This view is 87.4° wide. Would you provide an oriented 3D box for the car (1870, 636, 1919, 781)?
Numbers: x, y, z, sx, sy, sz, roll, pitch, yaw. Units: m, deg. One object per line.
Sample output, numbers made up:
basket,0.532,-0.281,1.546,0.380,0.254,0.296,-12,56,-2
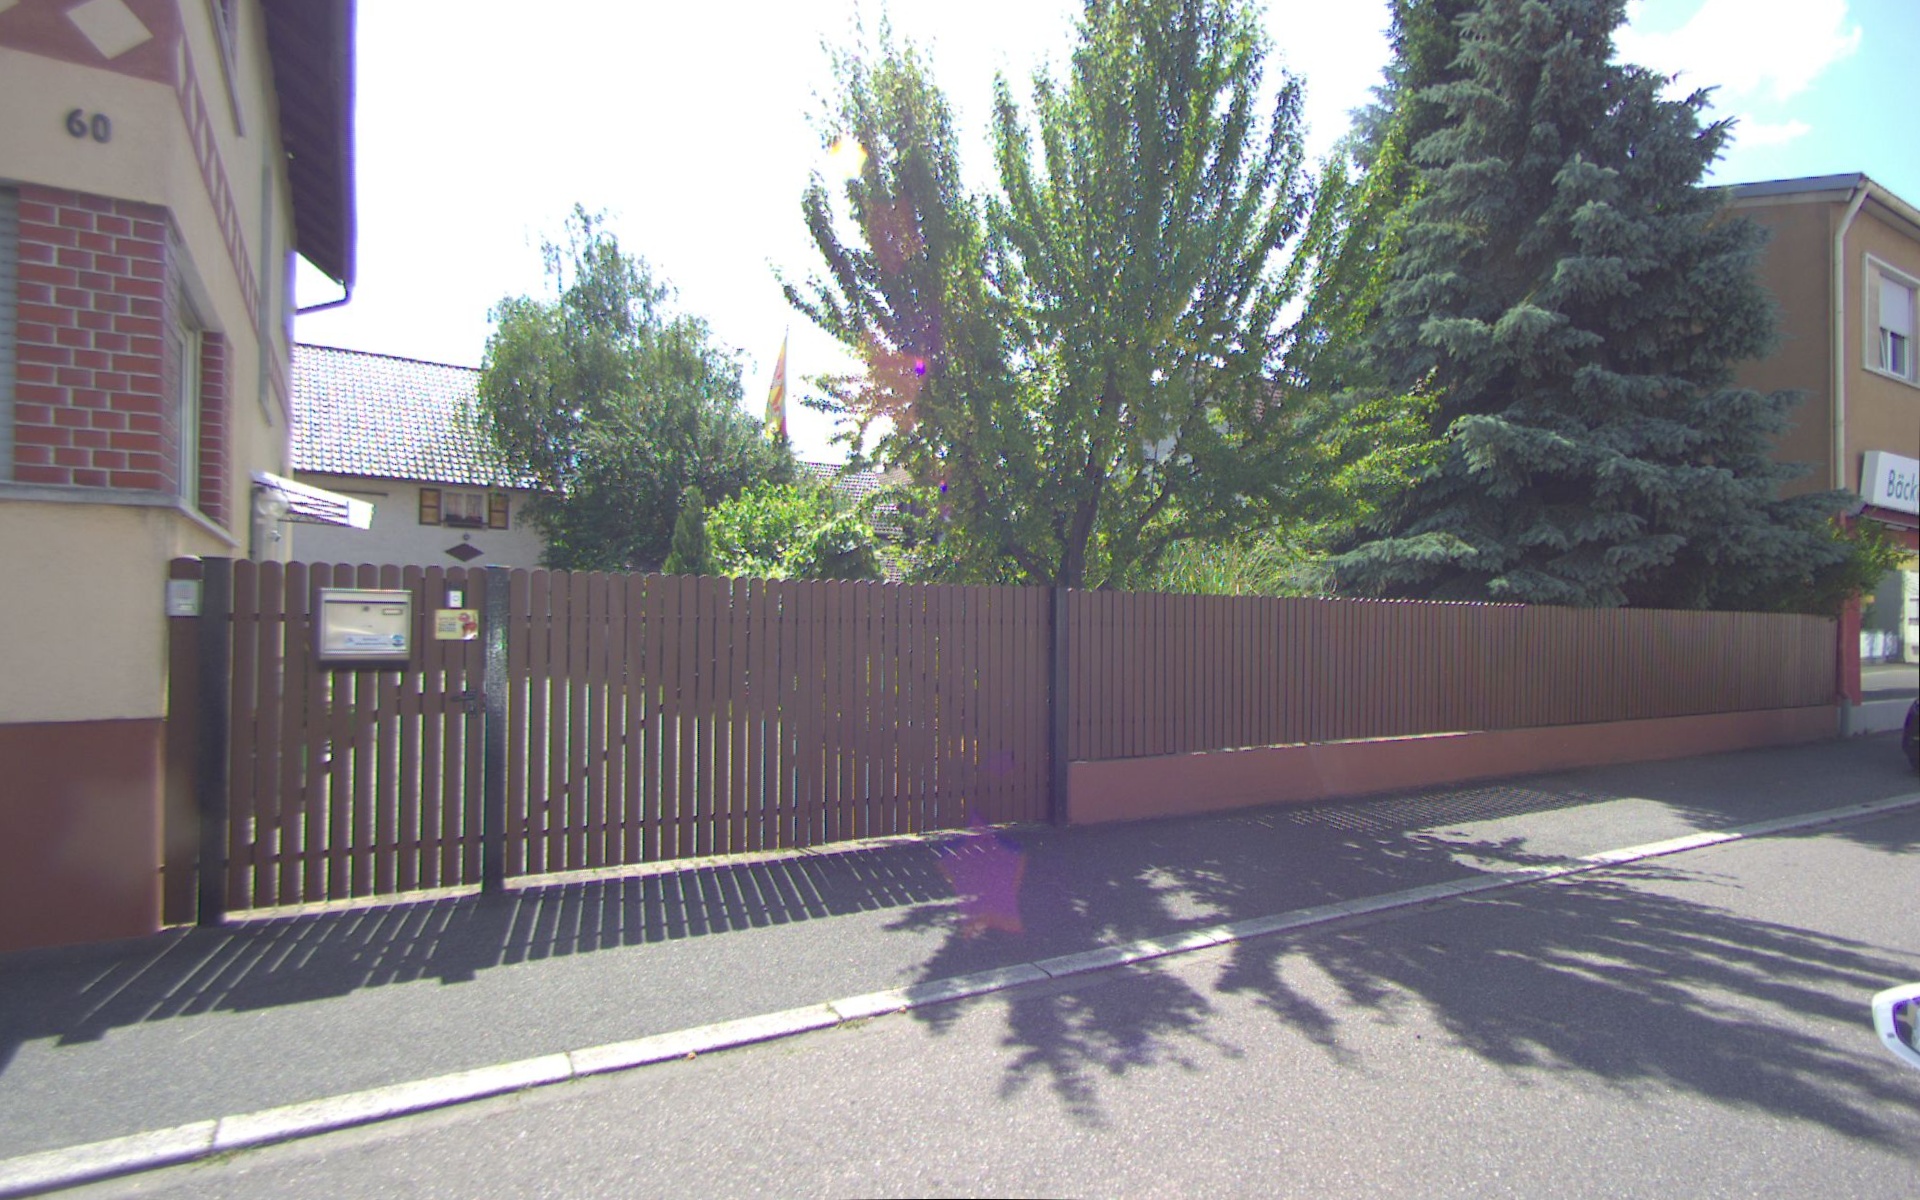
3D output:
car,11.979,1.148,10.910,4.381,1.479,1.761,1,-1,-28
